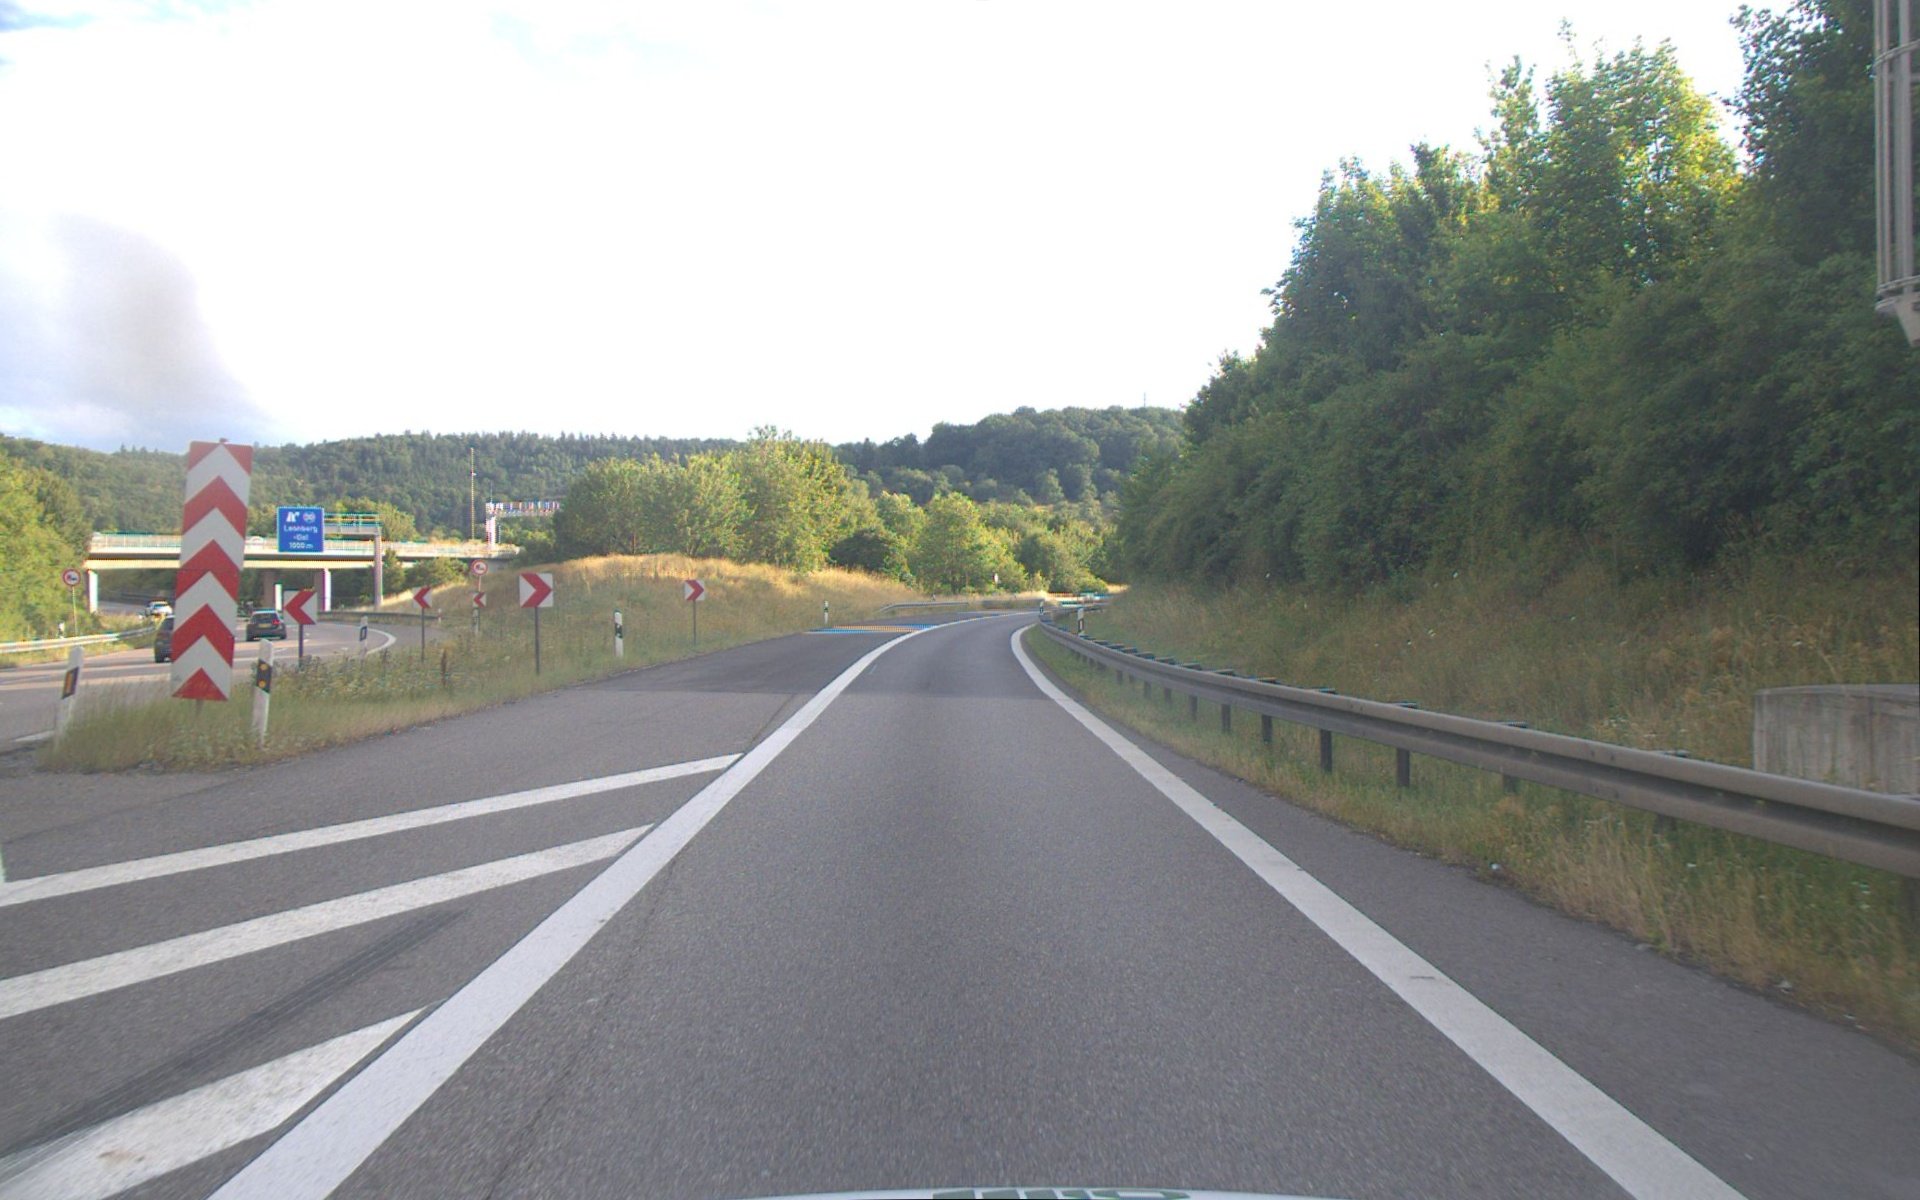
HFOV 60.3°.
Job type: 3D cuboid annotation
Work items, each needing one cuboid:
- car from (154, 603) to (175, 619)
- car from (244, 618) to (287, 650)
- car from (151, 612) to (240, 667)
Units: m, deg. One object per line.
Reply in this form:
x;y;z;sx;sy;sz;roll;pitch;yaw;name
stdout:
-78.798;1.093;163.905;1.715;1.492;3.611;-2;0;-24;car
-34.552;1.672;82.309;1.579;1.492;3.510;-3;1;-17;car
-23.475;1.185;50.894;1.708;1.492;3.773;-4;1;-14;car
